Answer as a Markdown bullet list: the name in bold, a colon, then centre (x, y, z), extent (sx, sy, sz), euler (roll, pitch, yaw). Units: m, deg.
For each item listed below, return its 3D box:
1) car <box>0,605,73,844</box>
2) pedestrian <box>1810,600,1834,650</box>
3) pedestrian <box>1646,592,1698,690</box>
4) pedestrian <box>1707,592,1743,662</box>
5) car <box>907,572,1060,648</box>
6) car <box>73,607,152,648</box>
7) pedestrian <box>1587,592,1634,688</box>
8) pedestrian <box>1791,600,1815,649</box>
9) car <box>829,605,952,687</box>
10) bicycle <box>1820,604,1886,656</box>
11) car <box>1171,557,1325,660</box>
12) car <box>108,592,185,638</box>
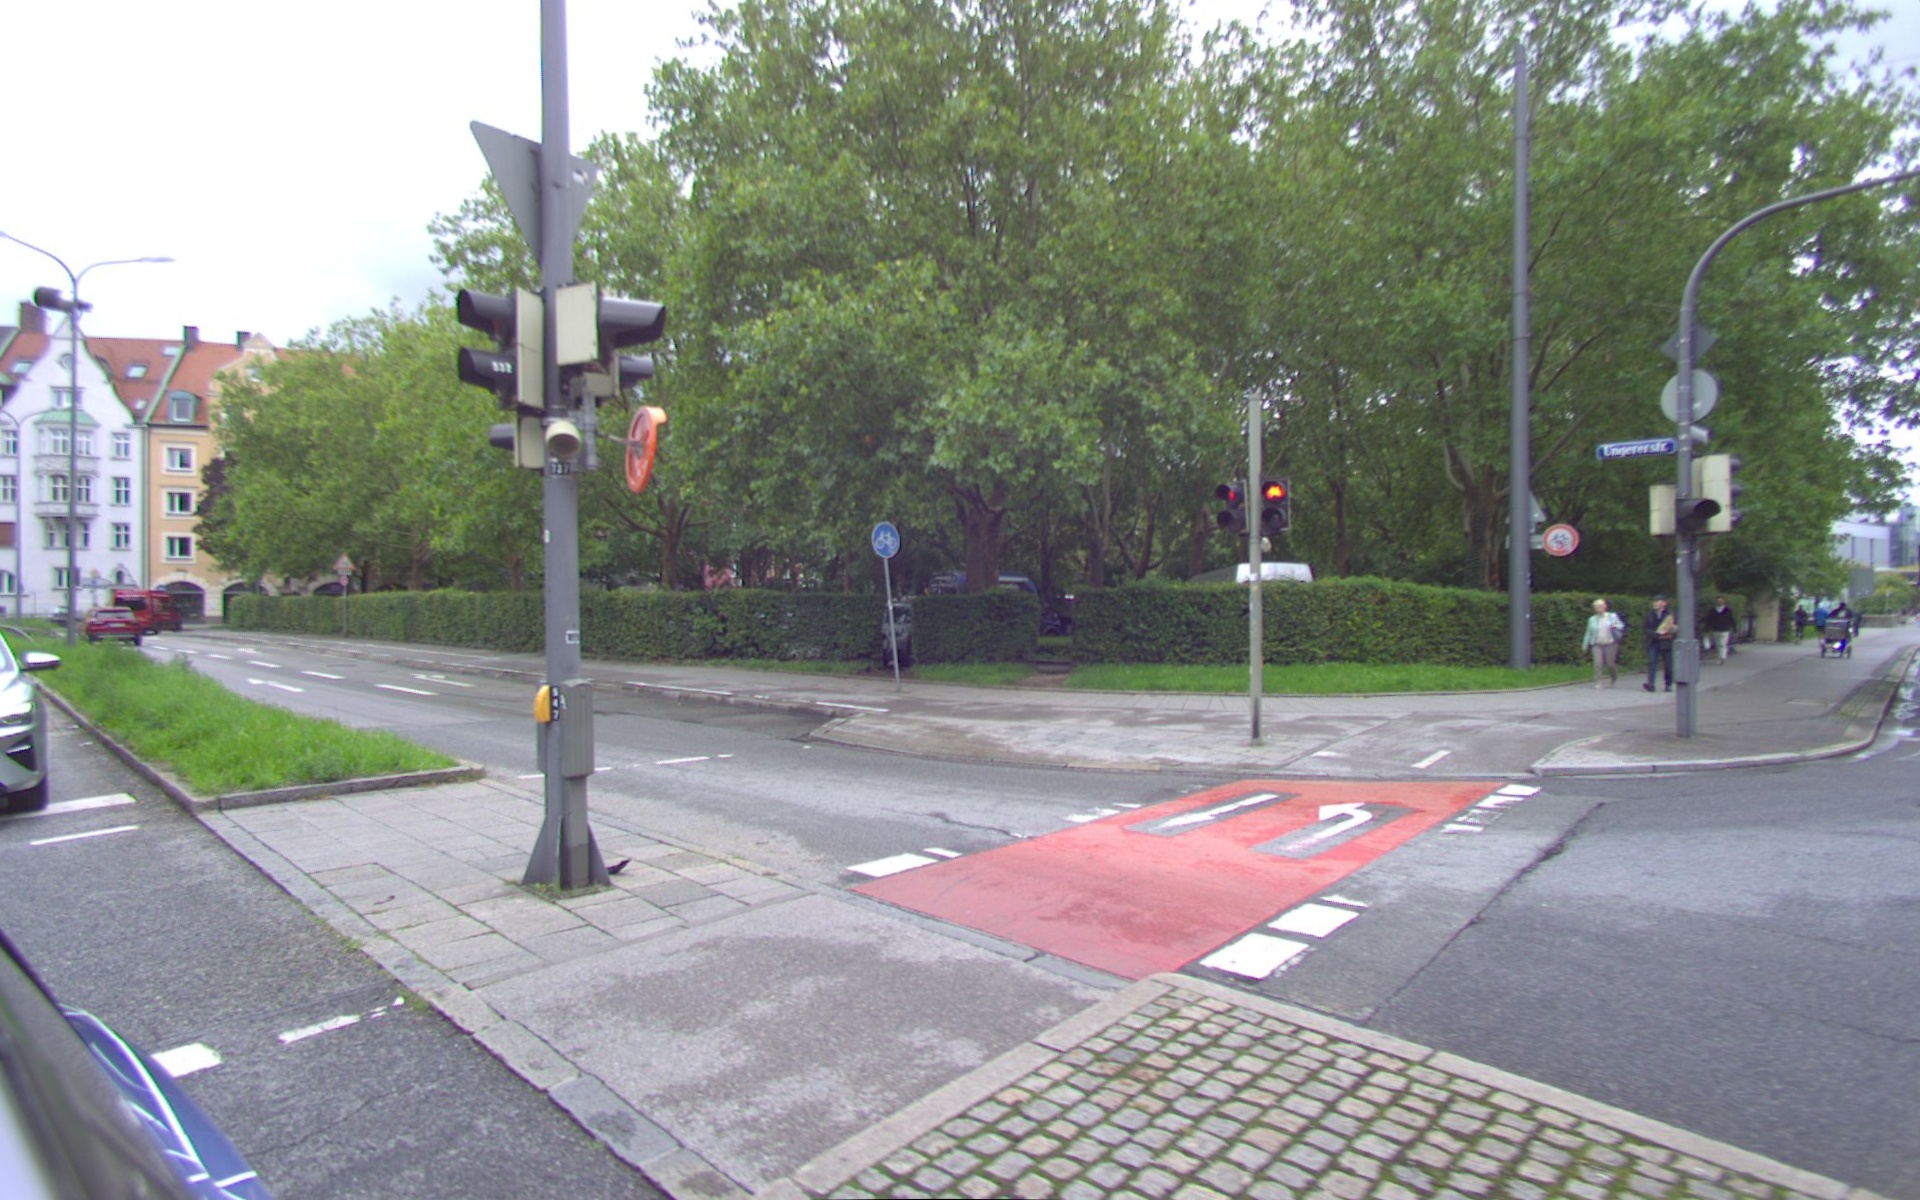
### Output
- **car**: centre (-8.119, 0.828, 7.728), extent (1.748, 1.536, 4.217), euler (-1, 0, -38)
- **pedestrian**: centre (35.327, 1.018, 41.476), extent (0.669, 2.029, 0.617), euler (-1, 1, -39)
- **pedestrian**: centre (12.474, 0.710, 17.740), extent (0.683, 1.676, 0.654), euler (-1, -1, 32)
- **pedestrian**: centre (20.379, 0.712, 26.971), extent (0.683, 1.824, 0.654), euler (-1, -1, 32)
- **car**: centre (0.952, 0.267, 36.902), extent (5.775, 2.554, 2.002), euler (-2, 1, -43)
- **car**: centre (-36.421, 1.211, 43.430), extent (4.940, 1.650, 2.080), euler (-2, -3, 44)
- **pedestrian**: centre (11.685, 0.704, 18.198), extent (0.683, 1.676, 0.549), euler (-1, -1, 32)
- **pedestrian**: centre (35.178, 1.006, 42.229), extent (0.668, 2.029, 0.617), euler (-1, 1, -37)
- **car**: centre (-1.640, 1.070, 25.079), extent (1.765, 1.776, 3.499), euler (0, 1, 21)
- **bicycle**: centre (29.149, 0.929, 33.053), extent (1.529, 1.478, 3.945), euler (0, 1, 42)
- **car**: centre (6.722, 0.317, 24.240), extent (1.970, 2.029, 4.632), euler (-1, -5, -4)
- **car**: centre (-48.172, 0.954, 60.099), extent (2.073, 2.609, 6.100), euler (0, -2, -24)
